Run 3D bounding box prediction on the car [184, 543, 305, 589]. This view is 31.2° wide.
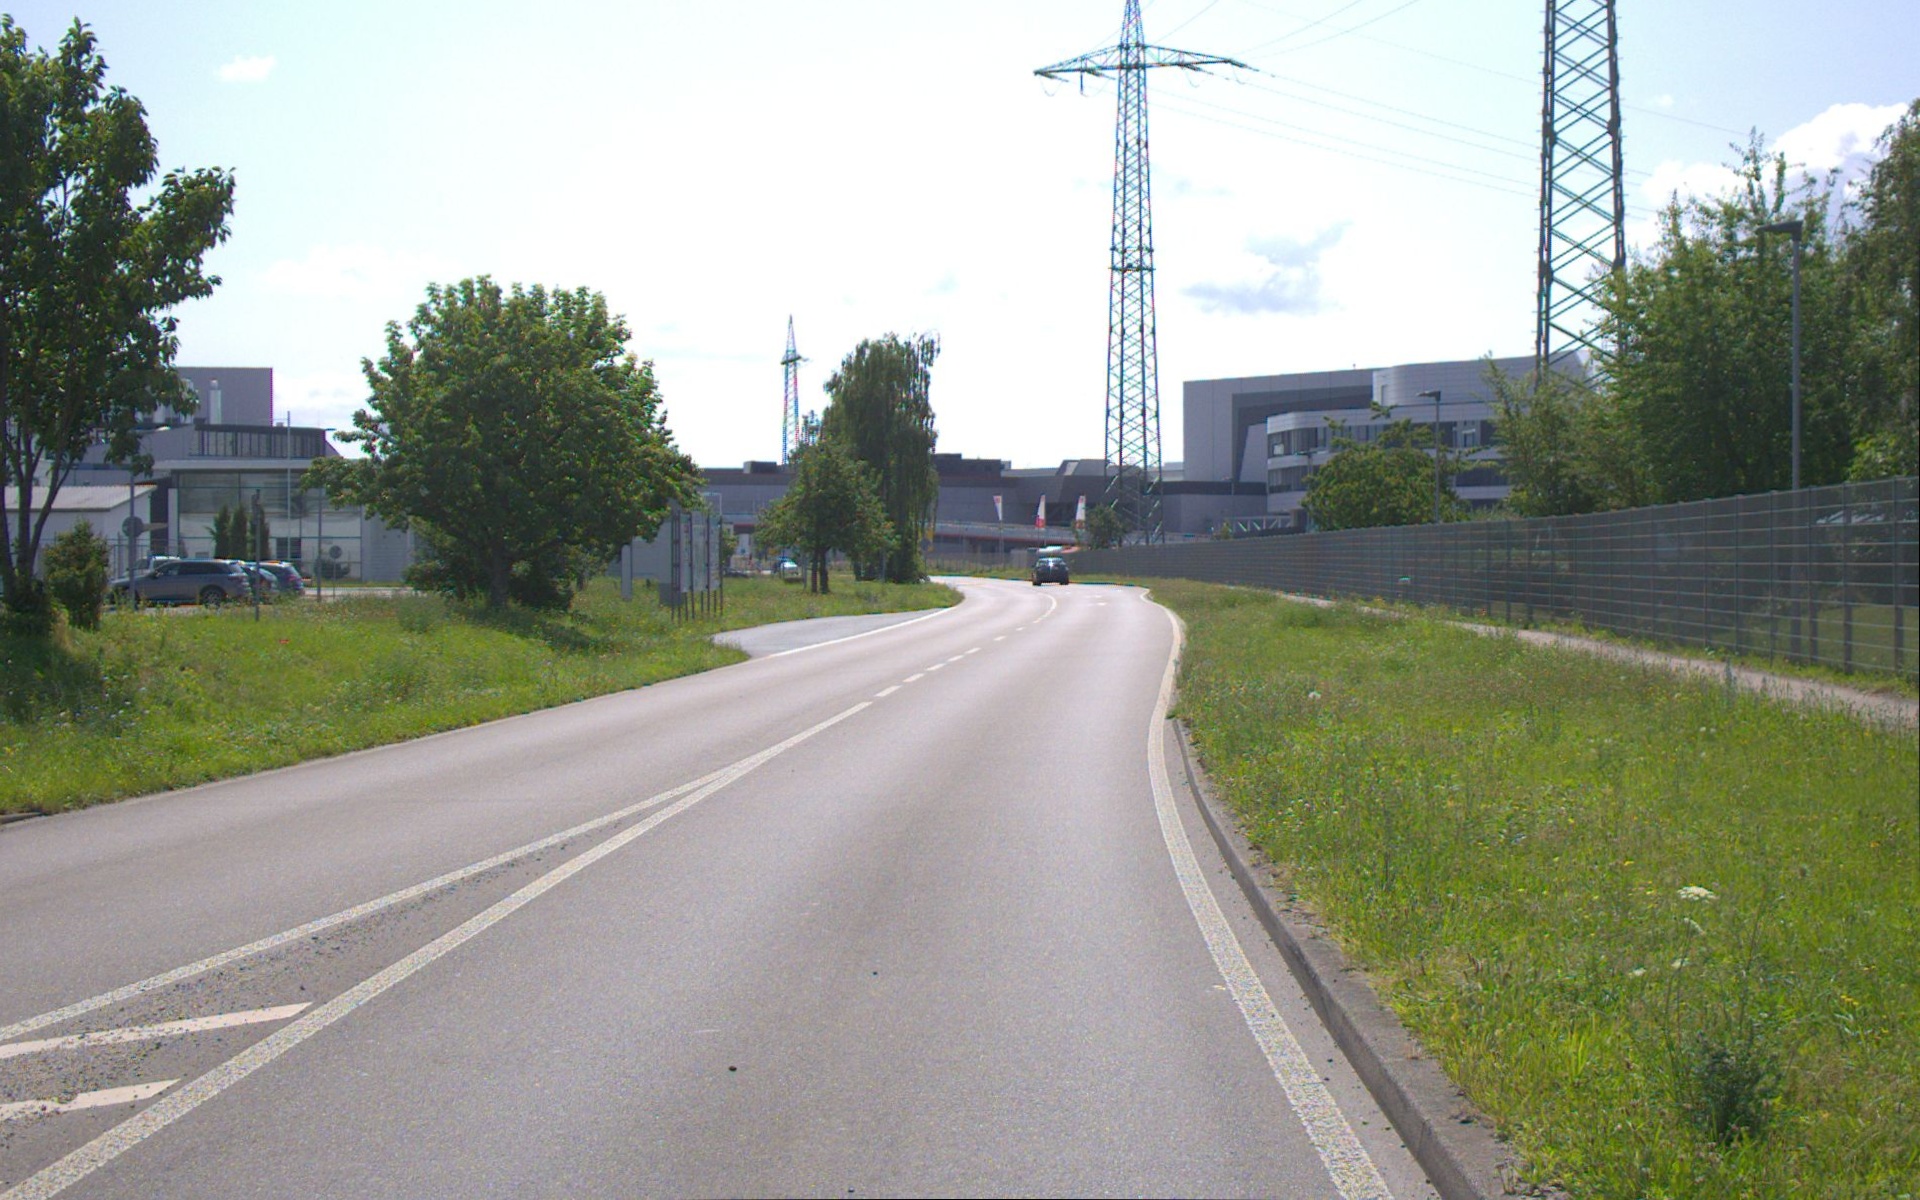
[{"bbox_3d":[-25.657,-1.226,123.327,3.986,1.634,2.000,0,1,-3],"label":"car"}]

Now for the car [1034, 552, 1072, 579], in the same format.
[{"bbox_3d":[5.250,-1.953,194.037,2.012,1.503,4.000,0,1,0],"label":"car"}]

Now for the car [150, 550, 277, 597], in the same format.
[{"bbox_3d":[-25.340,-0.895,116.769,3.986,1.550,1.666,0,1,-3],"label":"car"}]

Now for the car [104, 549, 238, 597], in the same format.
[{"bbox_3d":[-25.759,-0.885,112.331,3.986,1.523,2.000,0,1,-3],"label":"car"}]
